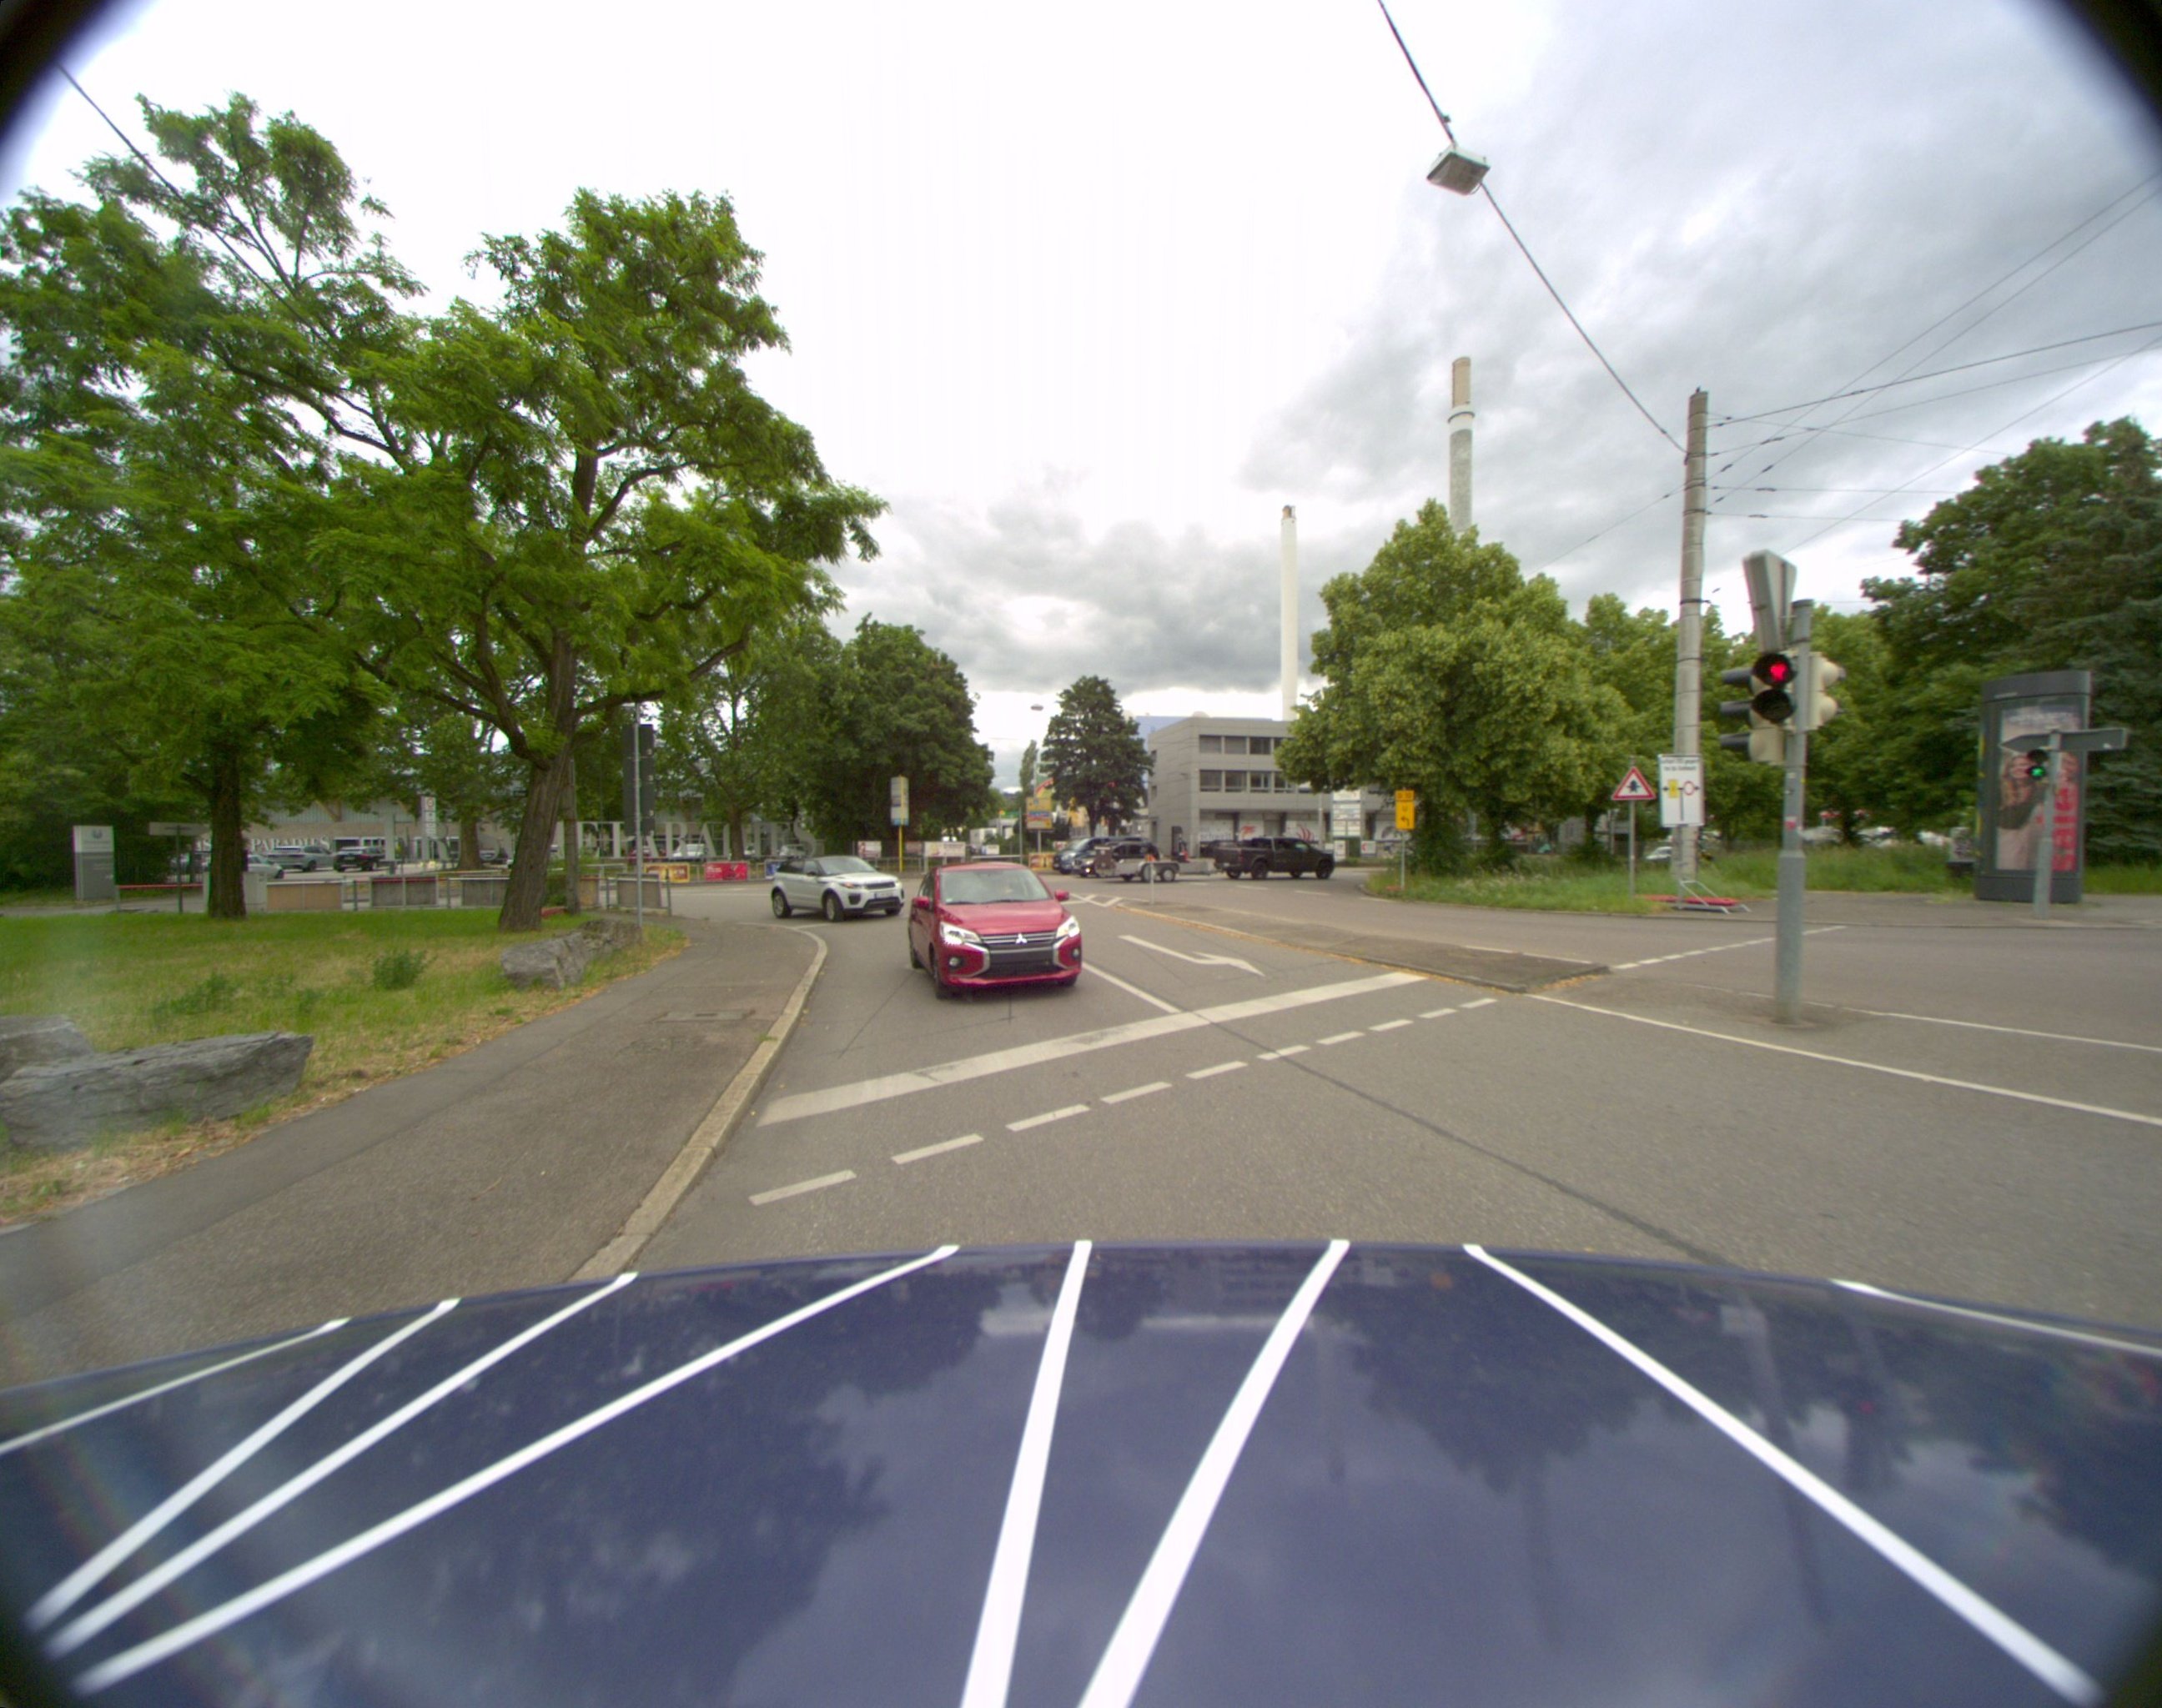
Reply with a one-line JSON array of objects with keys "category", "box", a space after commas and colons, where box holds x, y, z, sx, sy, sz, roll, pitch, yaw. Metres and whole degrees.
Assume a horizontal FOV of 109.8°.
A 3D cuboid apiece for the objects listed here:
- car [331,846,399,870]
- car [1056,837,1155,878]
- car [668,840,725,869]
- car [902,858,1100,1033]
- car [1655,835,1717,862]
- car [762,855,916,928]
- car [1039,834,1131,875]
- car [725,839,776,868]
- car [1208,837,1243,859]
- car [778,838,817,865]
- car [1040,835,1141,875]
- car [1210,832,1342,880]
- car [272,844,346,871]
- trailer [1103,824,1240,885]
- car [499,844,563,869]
[{"category": "car", "box": [-47.391, 0.214, 50.410, 1.919, 1.499, 3.992, -1, 1, -22]}, {"category": "car", "box": [1.158, 0.179, 35.479, 4.237, 1.761, 1.828, 1, 0, -31]}, {"category": "car", "box": [-23.816, -0.007, 47.272, 2.000, 1.450, 4.692, -4, 4, -13]}, {"category": "car", "box": [-1.196, 0.917, 9.541, 1.769, 1.522, 3.733, -2, 3, -17]}, {"category": "car", "box": [46.276, -0.463, 58.100, 4.770, 1.654, 1.995, -5, 4, -28]}, {"category": "car", "box": [-6.348, 0.877, 19.705, 4.101, 1.561, 1.920, 0, 5, 43]}, {"category": "car", "box": [0.175, -0.024, 38.672, 4.243, 2.003, 1.995, -1, 3, -23]}, {"category": "car", "box": [-20.722, -0.068, 47.851, 2.000, 1.450, 4.692, -4, 4, -13]}, {"category": "car", "box": [12.653, -0.552, 66.736, 1.778, 1.670, 3.567, -4, 4, -10]}, {"category": "car", "box": [-18.246, -0.209, 49.070, 2.001, 1.450, 4.691, -4, 4, -17]}, {"category": "car", "box": [0.482, 0.025, 38.778, 4.808, 1.934, 1.829, -1, 1, -23]}, {"category": "car", "box": [8.840, 0.037, 34.390, 5.878, 1.969, 1.946, -1, 3, -25]}, {"category": "car", "box": [-50.372, 0.213, 49.674, 1.919, 1.691, 3.992, -1, 1, -22]}, {"category": "trailer", "box": [3.824, -0.029, 31.945, 5.395, 2.374, 2.146, -1, 1, -26]}, {"category": "car", "box": [-38.969, 0.117, 54.035, 1.939, 1.423, 5.241, -4, 4, -16]}]
